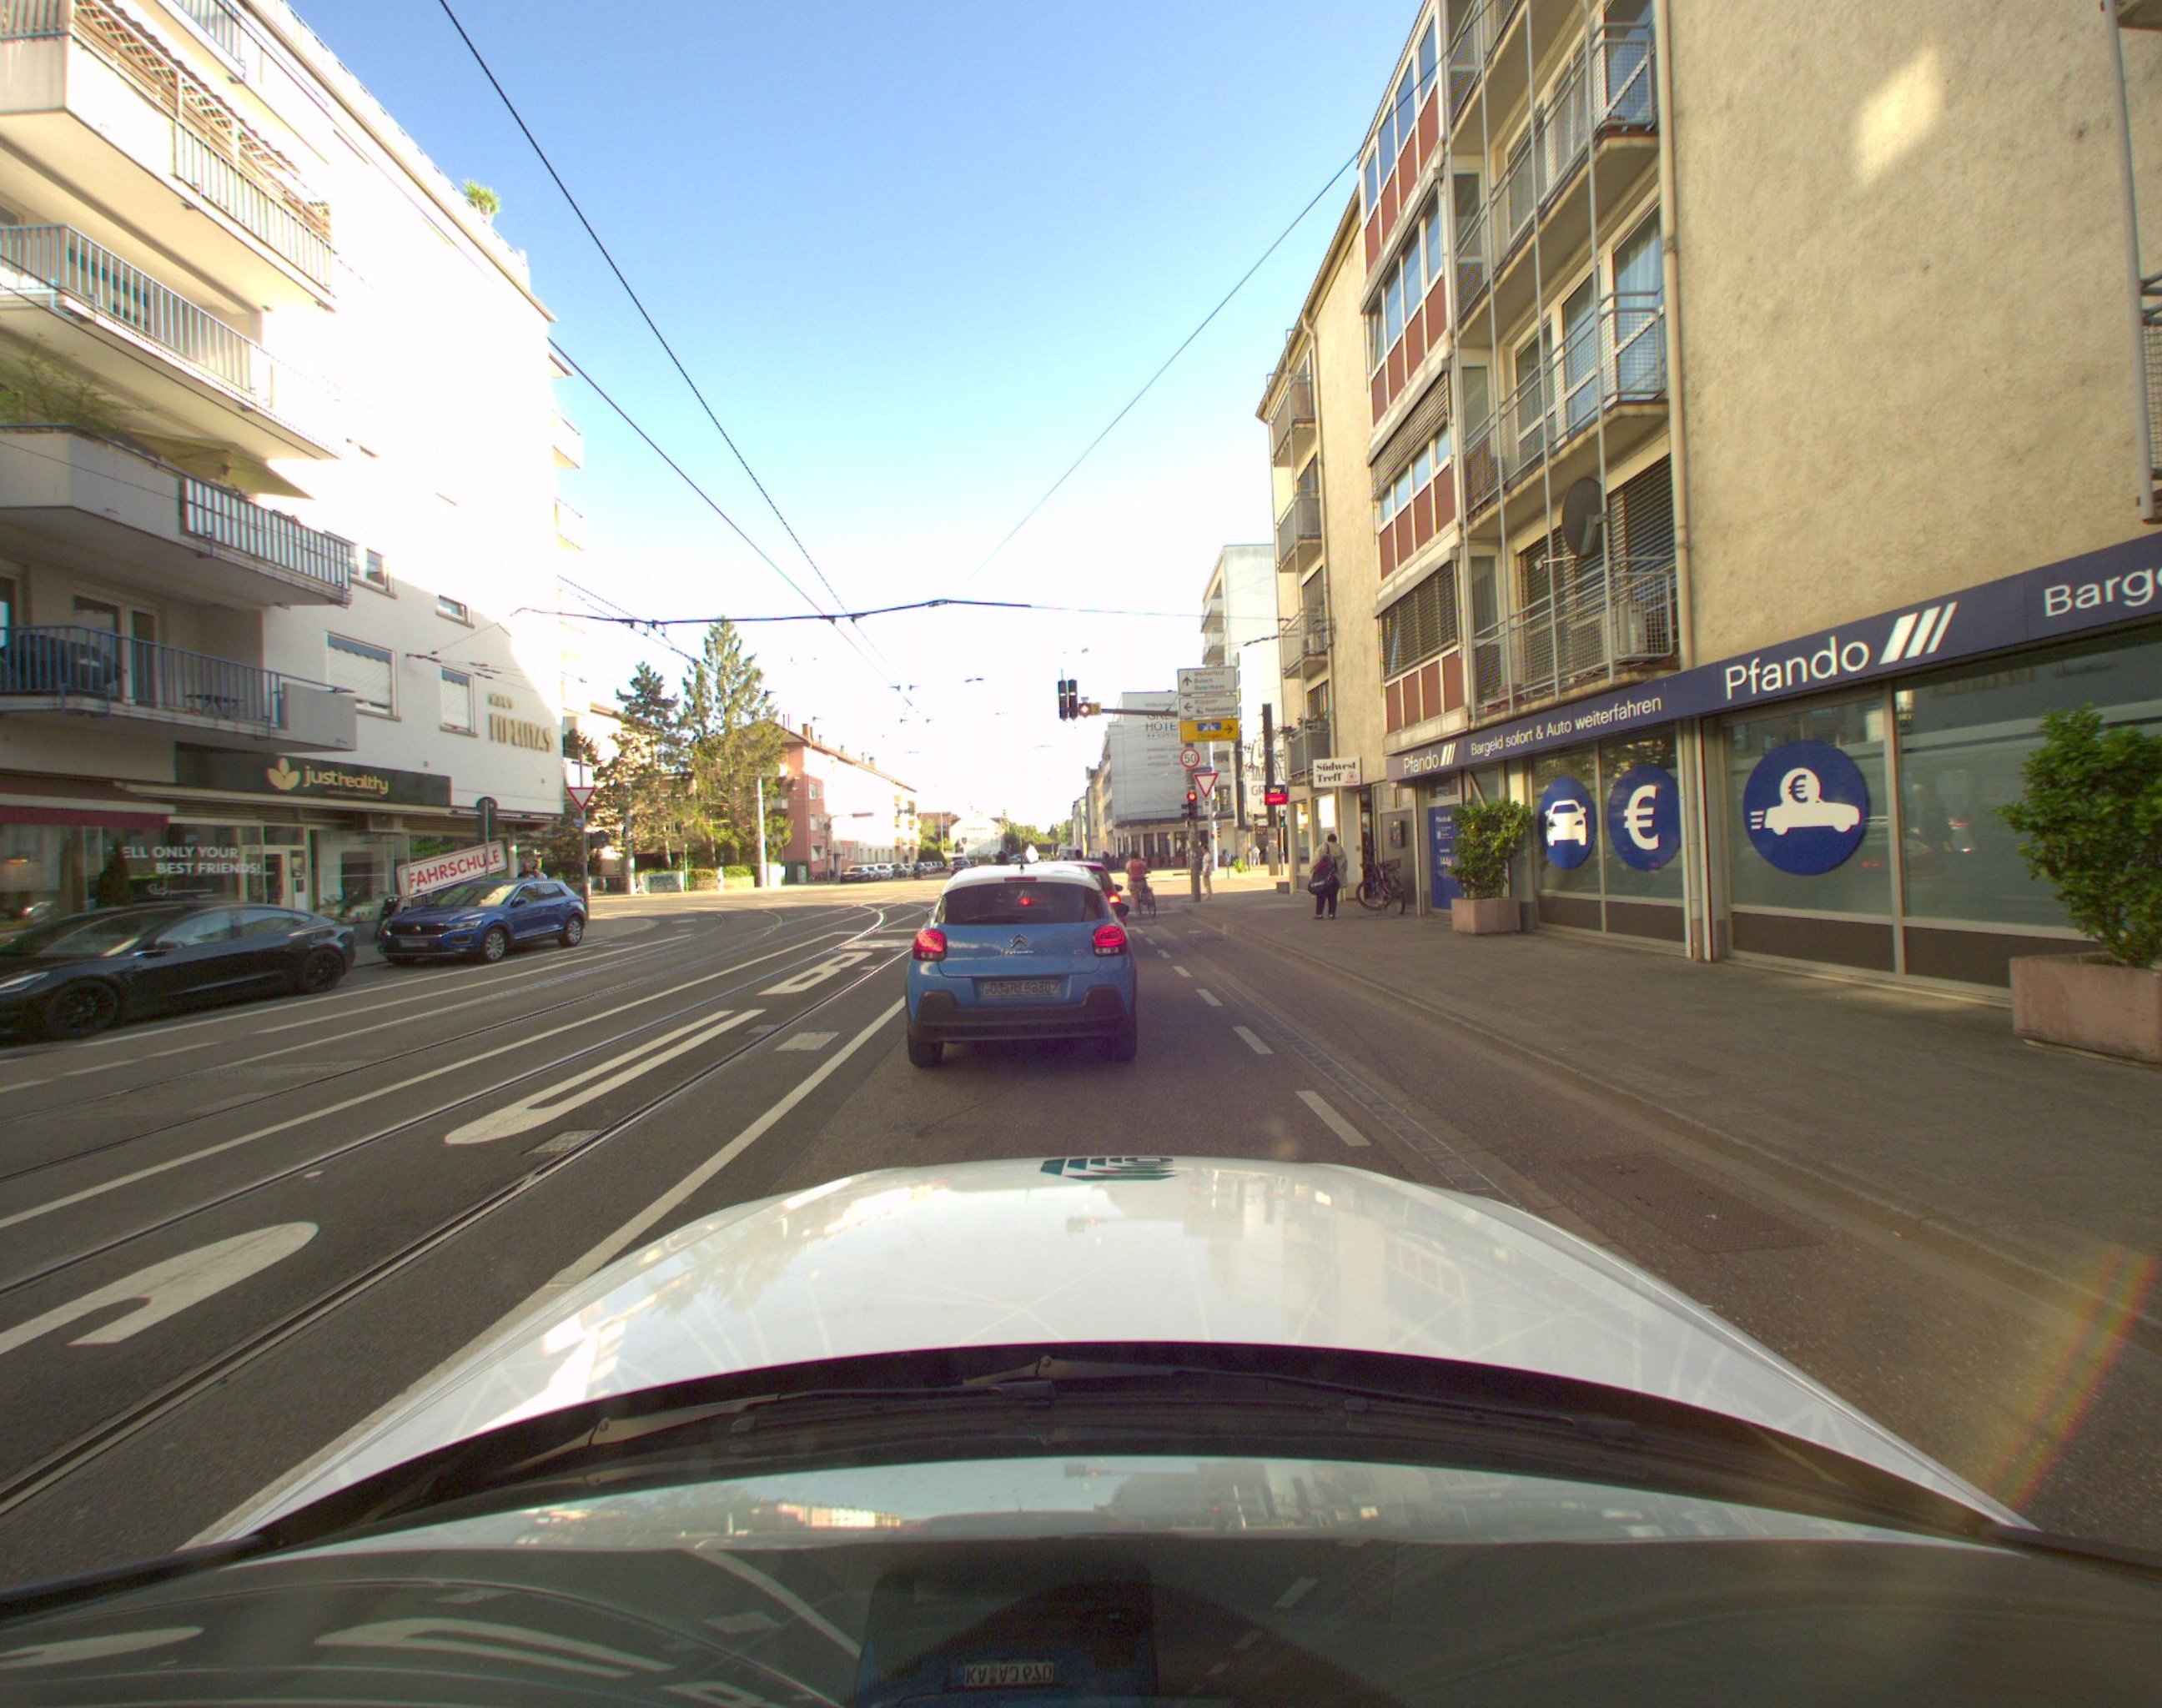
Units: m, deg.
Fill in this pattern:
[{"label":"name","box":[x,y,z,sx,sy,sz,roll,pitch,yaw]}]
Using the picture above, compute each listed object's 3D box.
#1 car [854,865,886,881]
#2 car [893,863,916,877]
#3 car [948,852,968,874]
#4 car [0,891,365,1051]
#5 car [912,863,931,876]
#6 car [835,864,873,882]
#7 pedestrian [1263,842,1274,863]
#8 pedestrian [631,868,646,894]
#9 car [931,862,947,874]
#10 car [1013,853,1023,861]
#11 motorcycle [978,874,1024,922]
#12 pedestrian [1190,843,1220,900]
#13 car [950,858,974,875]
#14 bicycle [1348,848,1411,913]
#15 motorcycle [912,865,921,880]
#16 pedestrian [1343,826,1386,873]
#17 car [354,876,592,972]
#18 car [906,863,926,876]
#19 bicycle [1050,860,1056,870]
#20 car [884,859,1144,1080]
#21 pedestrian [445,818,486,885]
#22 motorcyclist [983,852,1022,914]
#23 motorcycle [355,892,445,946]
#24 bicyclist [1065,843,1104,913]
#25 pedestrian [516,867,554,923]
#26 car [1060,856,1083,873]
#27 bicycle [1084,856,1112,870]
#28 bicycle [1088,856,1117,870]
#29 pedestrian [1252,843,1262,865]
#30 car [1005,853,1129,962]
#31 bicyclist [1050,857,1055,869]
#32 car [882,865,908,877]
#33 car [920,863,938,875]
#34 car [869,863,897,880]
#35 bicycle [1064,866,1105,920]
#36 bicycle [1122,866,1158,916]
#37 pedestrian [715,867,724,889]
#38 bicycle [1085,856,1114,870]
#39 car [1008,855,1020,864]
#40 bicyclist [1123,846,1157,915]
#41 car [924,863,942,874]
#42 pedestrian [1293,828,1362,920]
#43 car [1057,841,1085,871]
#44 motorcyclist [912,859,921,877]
[{"label":"car","box":[-19.448,1.741,75.185,1.897,1.436,4.102,0,0,0]},{"label":"car","box":[-20.064,1.825,92.730,1.865,1.576,3.995,0,-1,-3]},{"label":"car","box":[-18.059,1.265,119.681,2.411,3.142,3.487,0,-1,-1]},{"label":"car","box":[-12.000,1.302,10.428,1.764,1.475,4.443,0,0,-1]},{"label":"car","box":[-20.177,1.911,103.225,1.865,1.576,3.995,0,-1,-3]},{"label":"car","box":[-19.374,1.627,69.683,2.149,1.432,4.435,0,-2,-3]},{"label":"pedestrian","box":[14.530,-0.142,63.028,0.604,1.608,0.673,-1,-1,36]},{"label":"pedestrian","box":[-30.364,1.838,55.881,0.785,1.722,0.699,0,-1,-22]},{"label":"car","box":[-20.782,2.048,119.665,1.865,1.576,3.995,0,-1,-3]},{"label":"car","box":[-14.519,0.769,188.452,2.068,1.762,5.034,0,0,-1]},{"label":"motorcycle","box":[-1.914,1.036,19.700,0.852,1.047,1.943,0,-1,2]},{"label":"pedestrian","box":[3.680,0.514,24.160,0.534,1.623,0.737,-7,-3,23]},{"label":"car","box":[-11.226,1.156,76.872,1.775,1.486,3.824,-3,0,-3]},{"label":"bicycle","box":[5.744,0.496,15.755,0.495,1.161,1.776,-2,-1,-1]},{"label":"motorcycle","box":[-13.608,1.548,67.464,0.712,1.220,1.957,-2,-2,-12]},{"label":"pedestrian","box":[6.733,-0.108,19.328,0.627,1.087,0.672,-3,1,-36]},{"label":"car","box":[-11.887,1.277,16.345,1.765,1.503,4.233,0,1,-4]},{"label":"car","box":[-20.009,1.874,98.793,1.865,1.576,3.995,0,-1,-3]},{"label":"bicycle","box":[-4.966,1.974,143.375,0.787,1.670,2.231,0,-1,3]},{"label":"car","box":[-0.328,0.790,7.309,1.729,1.452,3.666,-1,0,4]},{"label":"pedestrian","box":[-17.931,-0.066,23.742,0.568,1.900,0.742,-2,-3,16]},{"label":"motorcyclist","box":[-1.913,0.690,19.917,0.852,1.488,0.729,0,-1,1]},{"label":"motorcycle","box":[-15.831,1.487,18.995,0.605,1.134,1.795,0,-1,-2]},{"label":"bicyclist","box":[0.089,0.576,20.016,0.937,1.673,1.079,0,-1,0]},{"label":"pedestrian","box":[-18.070,1.332,26.970,0.732,1.792,0.663,-2,0,5]},{"label":"car","box":[-0.832,0.861,68.028,1.654,1.431,3.882,0,-1,-4]},{"label":"bicycle","box":[1.409,0.758,68.424,2.246,1.001,0.855,-4,0,-4]},{"label":"bicycle","box":[1.764,0.739,65.933,2.246,1.001,0.855,-4,0,-4]},{"label":"pedestrian","box":[13.188,0.014,61.049,0.604,1.608,0.673,-1,-1,29]},{"label":"car","box":[-0.286,0.766,13.617,1.780,1.521,3.758,0,0,-3]},{"label":"bicyclist","box":[-4.968,1.632,143.381,0.787,2.024,0.987,0,-1,3]},{"label":"car","box":[-19.737,1.767,86.731,1.942,1.239,4.279,0,0,-2]},{"label":"car","box":[-20.202,1.953,108.410,1.865,1.576,3.995,0,-1,-3]},{"label":"car","box":[-19.416,1.695,80.019,1.737,1.526,4.227,0,-1,-1]},{"label":"bicycle","box":[0.091,0.920,19.932,0.937,1.223,2.094,0,-1,1]},{"label":"bicycle","box":[1.510,0.904,20.605,0.807,1.181,2.068,0,-1,6]},{"label":"pedestrian","box":[-25.390,1.678,57.201,0.519,1.568,0.568,0,-1,-26]},{"label":"bicycle","box":[1.535,0.742,67.307,2.246,1.001,0.855,-4,0,-4]},{"label":"car","box":[-14.018,1.208,170.551,2.212,1.932,4.946,0,-1,-1]},{"label":"bicyclist","box":[1.485,0.663,20.417,0.807,1.692,0.937,0,-1,6]},{"label":"car","box":[-20.585,1.996,113.427,1.865,1.576,3.995,0,-1,-3]},{"label":"pedestrian","box":[4.559,0.364,15.115,0.883,1.592,0.809,-5,1,-7]},{"label":"car","box":[-0.970,0.189,73.028,2.260,2.482,5.002,-1,0,-3]},{"label":"motorcyclist","box":[-13.654,1.153,67.642,0.694,1.497,0.681,-2,-2,-12]}]
